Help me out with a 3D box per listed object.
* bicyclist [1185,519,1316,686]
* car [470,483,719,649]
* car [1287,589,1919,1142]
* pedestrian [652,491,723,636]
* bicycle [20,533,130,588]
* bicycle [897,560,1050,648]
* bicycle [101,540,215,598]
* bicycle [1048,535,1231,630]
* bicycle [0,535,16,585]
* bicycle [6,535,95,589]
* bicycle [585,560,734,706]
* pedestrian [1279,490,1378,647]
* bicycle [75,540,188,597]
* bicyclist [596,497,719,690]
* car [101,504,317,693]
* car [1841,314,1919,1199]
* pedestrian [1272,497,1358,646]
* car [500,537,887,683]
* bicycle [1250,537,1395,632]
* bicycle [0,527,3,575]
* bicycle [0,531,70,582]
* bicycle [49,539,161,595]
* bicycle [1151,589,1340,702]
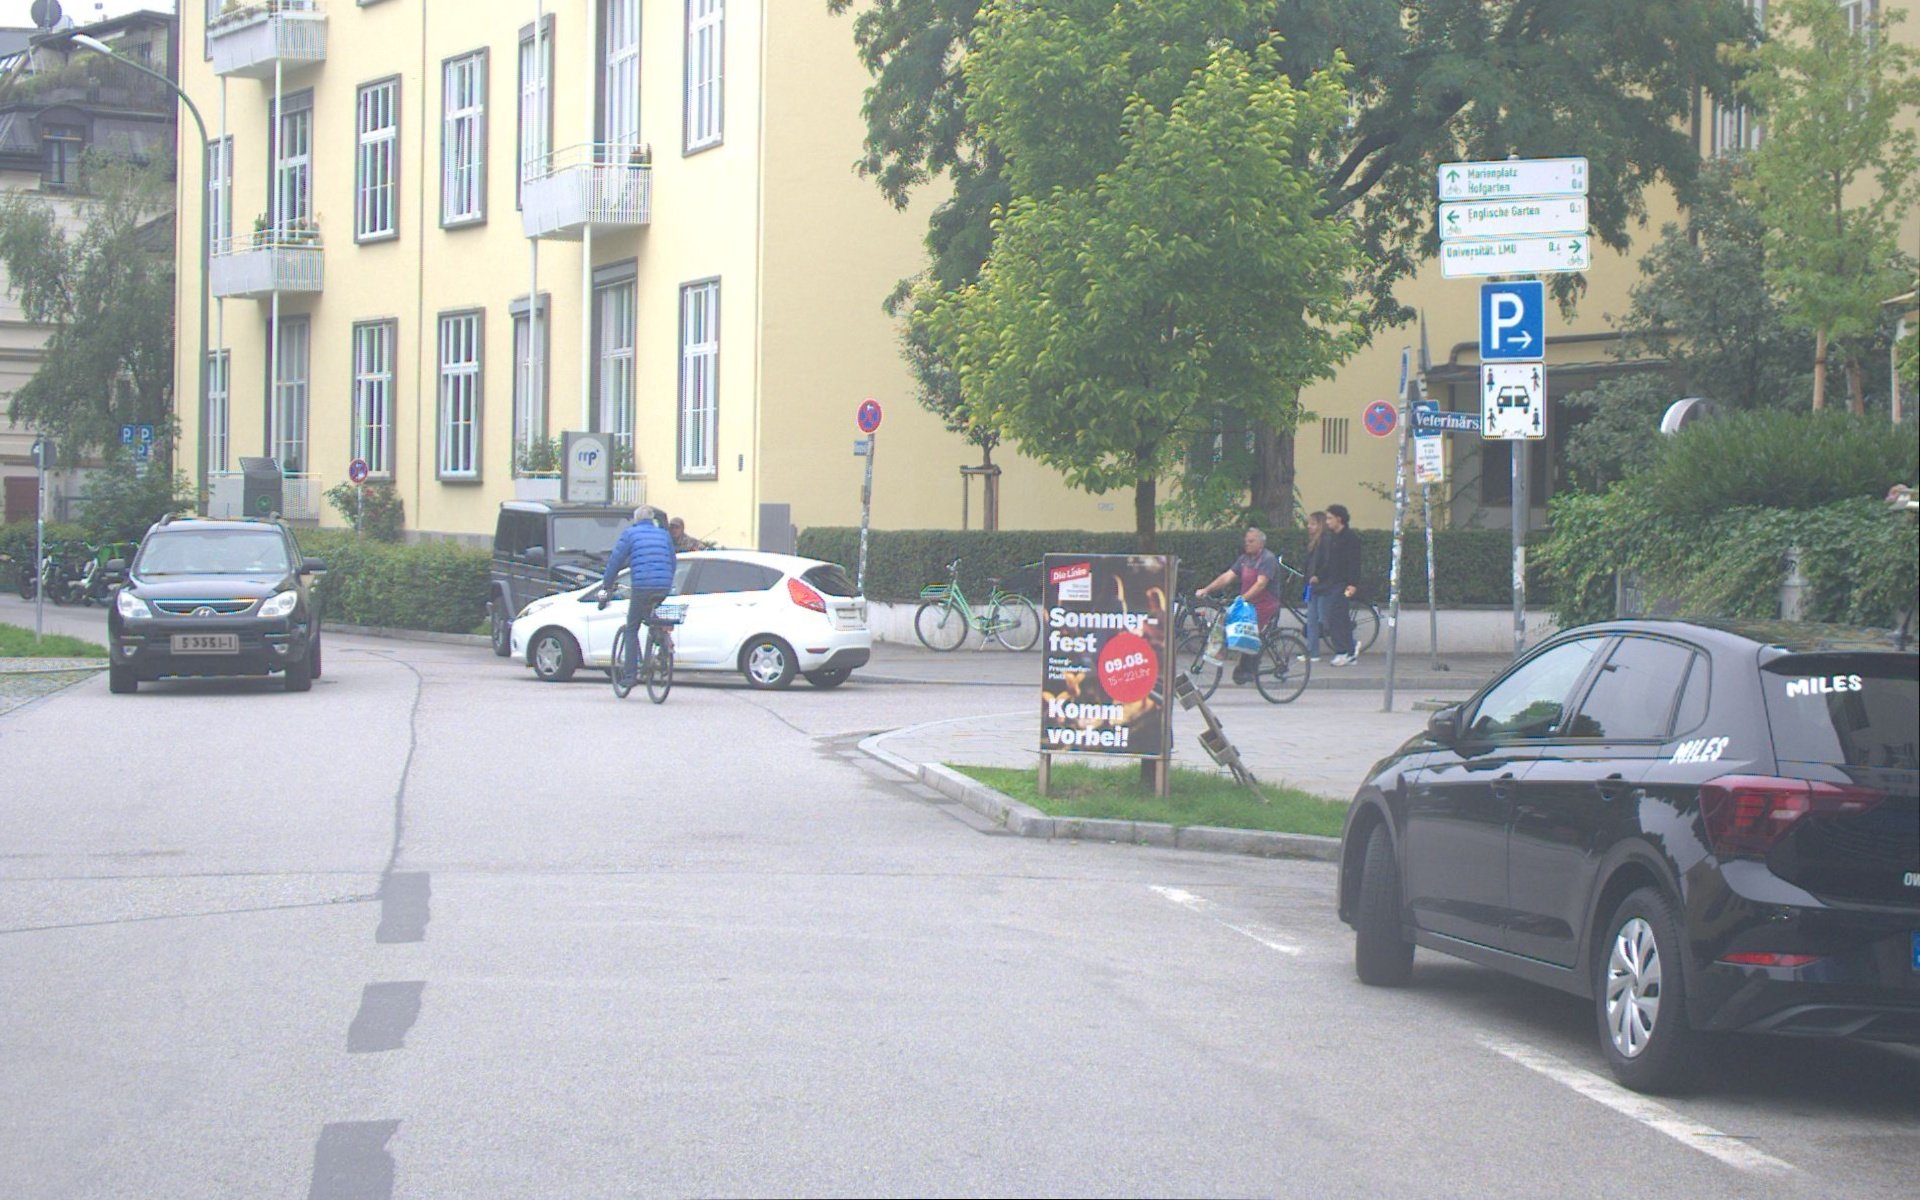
[{"bbox_3d":[2.882,0.008,34.068,0.877,1.603,1.047,2,2,34],"label":"bicyclist"},{"bbox_3d":[-4.566,-0.470,42.331,1.873,1.881,4.620,0,2,-21],"label":"car"},{"bbox_3d":[2.555,0.773,11.627,1.714,1.390,4.001,4,1,-11],"label":"car"},{"bbox_3d":[-3.373,-0.459,42.484,0.848,1.751,0.954,0,2,-6],"label":"pedestrian"},{"bbox_3d":[-16.644,-0.745,64.691,0.619,1.025,1.973,2,2,45],"label":"bicycle"},{"bbox_3d":[0.162,0.045,43.116,1.947,1.081,0.528,0,1,35],"label":"bicycle"},{"bbox_3d":[-14.512,-0.571,62.243,0.619,1.025,1.973,2,2,45],"label":"bicycle"},{"bbox_3d":[2.201,-0.218,42.123,2.168,1.111,0.640,1,2,9],"label":"bicycle"},{"bbox_3d":[-20.645,-0.837,71.337,0.619,1.025,1.973,2,2,45],"label":"bicycle"},{"bbox_3d":[-17.470,-0.734,66.069,0.532,1.025,1.975,1,2,24],"label":"bicycle"},{"bbox_3d":[-2.840,0.289,32.252,0.920,1.248,2.322,0,2,-17],"label":"bicycle"},{"bbox_3d":[4.283,-0.371,39.954,0.989,1.803,0.660,0,2,-8],"label":"pedestrian"},{"bbox_3d":[-15.138,-0.583,62.829,0.619,1.025,1.973,2,2,45],"label":"bicycle"},{"bbox_3d":[-2.849,-0.078,32.297,0.914,1.758,1.216,0,2,-17],"label":"bicyclist"},{"bbox_3d":[-7.604,-0.075,34.802,1.993,1.713,4.617,0,2,-13],"label":"car"},{"bbox_3d":[3.445,0.508,5.612,2.109,2.206,5.029,5,0,-6],"label":"car"},{"bbox_3d":[4.216,-0.345,40.892,0.826,1.740,0.741,0,2,-9],"label":"pedestrian"},{"bbox_3d":[-2.837,0.076,36.709,3.719,1.401,1.751,1,2,21],"label":"car"},{"bbox_3d":[4.423,-0.193,41.931,1.681,1.126,0.460,0,2,-9],"label":"bicycle"},{"bbox_3d":[-20.676,-1.005,71.413,0.409,1.011,1.534,2,3,42],"label":"bicycle"},{"bbox_3d":[-19.129,-0.886,69.822,0.619,1.025,1.973,2,2,45],"label":"bicycle"},{"bbox_3d":[-15.840,-0.611,63.689,0.619,1.025,1.973,2,2,45],"label":"bicycle"},{"bbox_3d":[2.848,0.432,34.069,0.878,1.016,2.186,2,3,35],"label":"bicycle"}]
